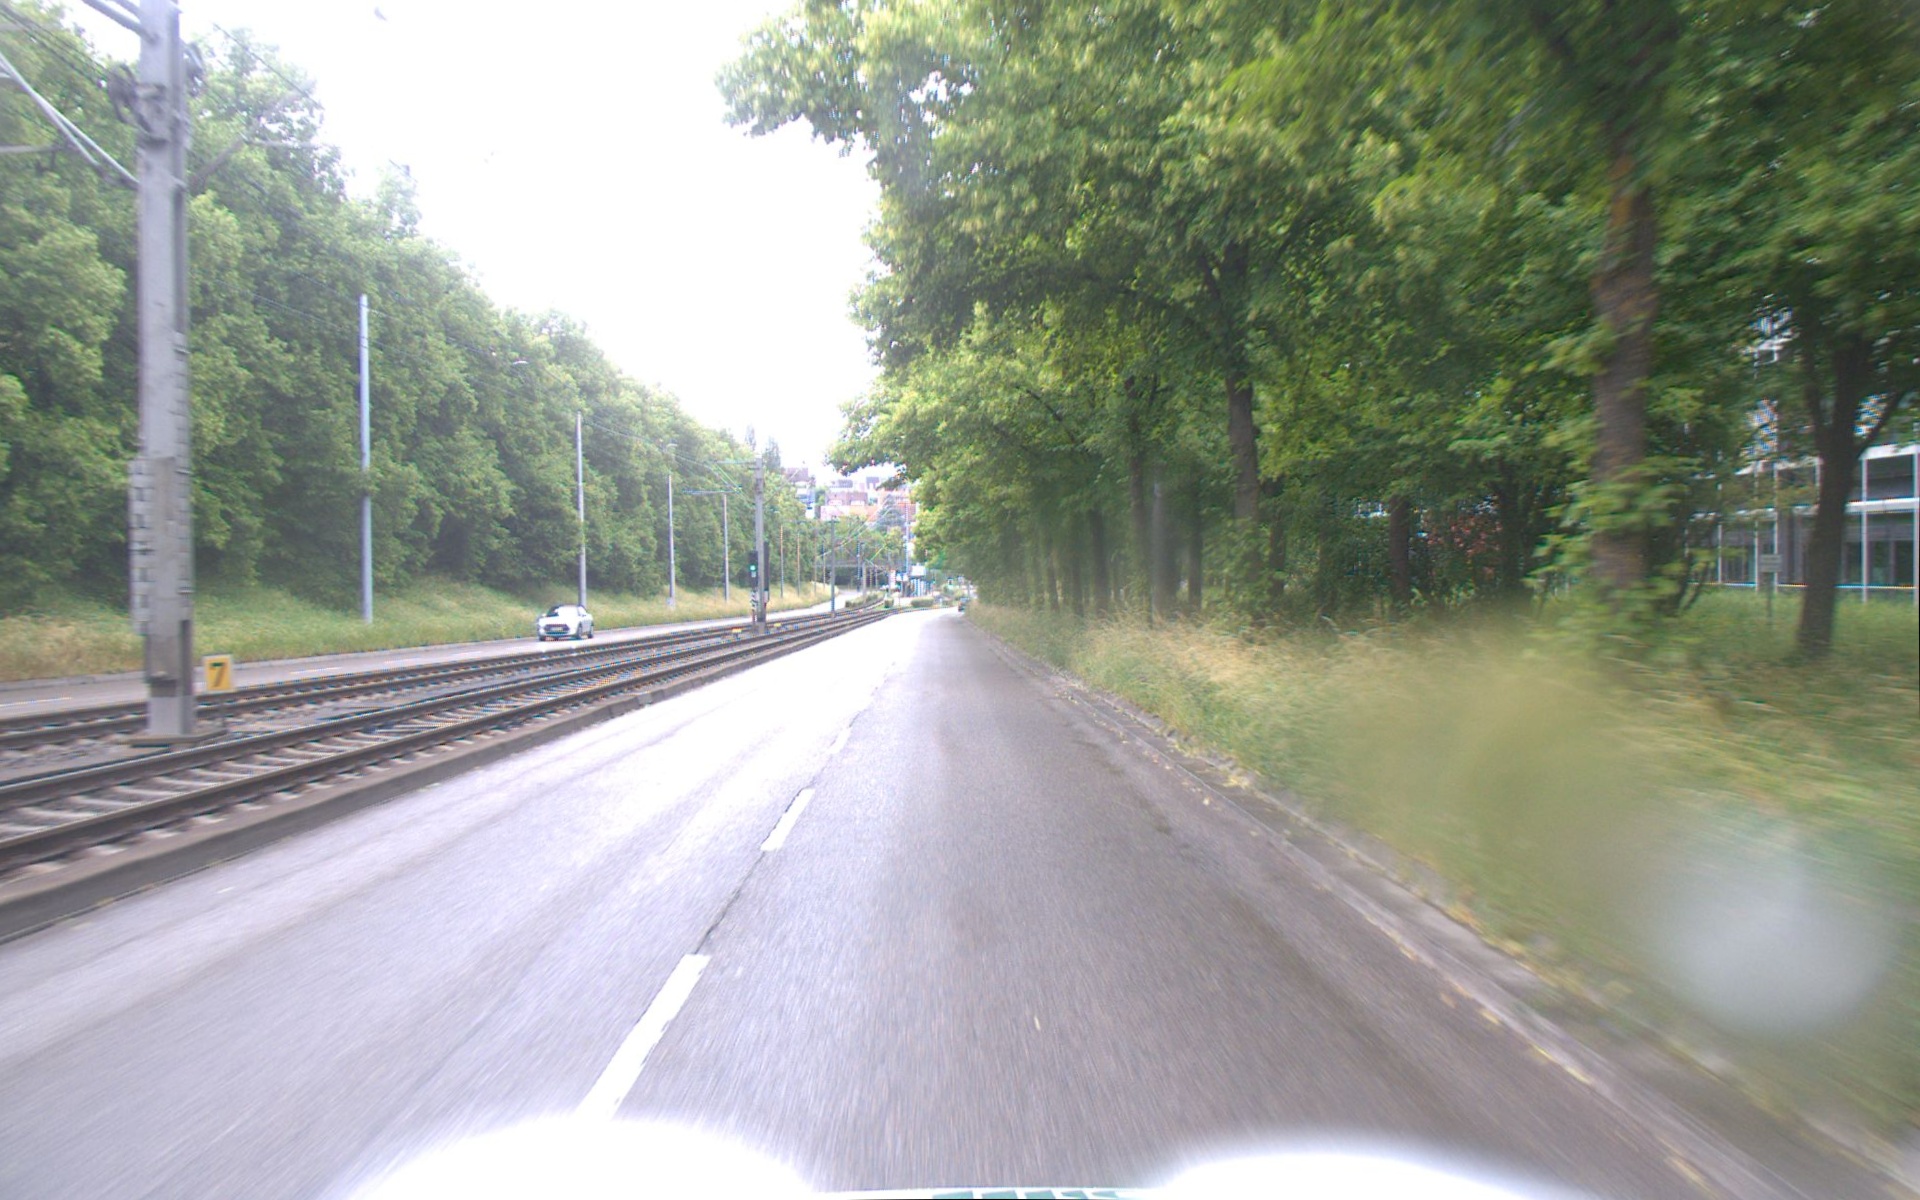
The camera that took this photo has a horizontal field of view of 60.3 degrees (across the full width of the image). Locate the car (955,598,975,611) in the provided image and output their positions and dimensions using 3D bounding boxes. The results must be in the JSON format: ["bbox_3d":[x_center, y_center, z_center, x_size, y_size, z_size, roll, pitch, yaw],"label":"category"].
[{"bbox_3d":[0.588,0.483,190.481,2.149,1.352,3.999,0,1,-1],"label":"car"}]

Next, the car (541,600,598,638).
[{"bbox_3d":[-16.214,0.764,68.829,1.446,1.461,3.909,-2,0,0],"label":"car"}]
